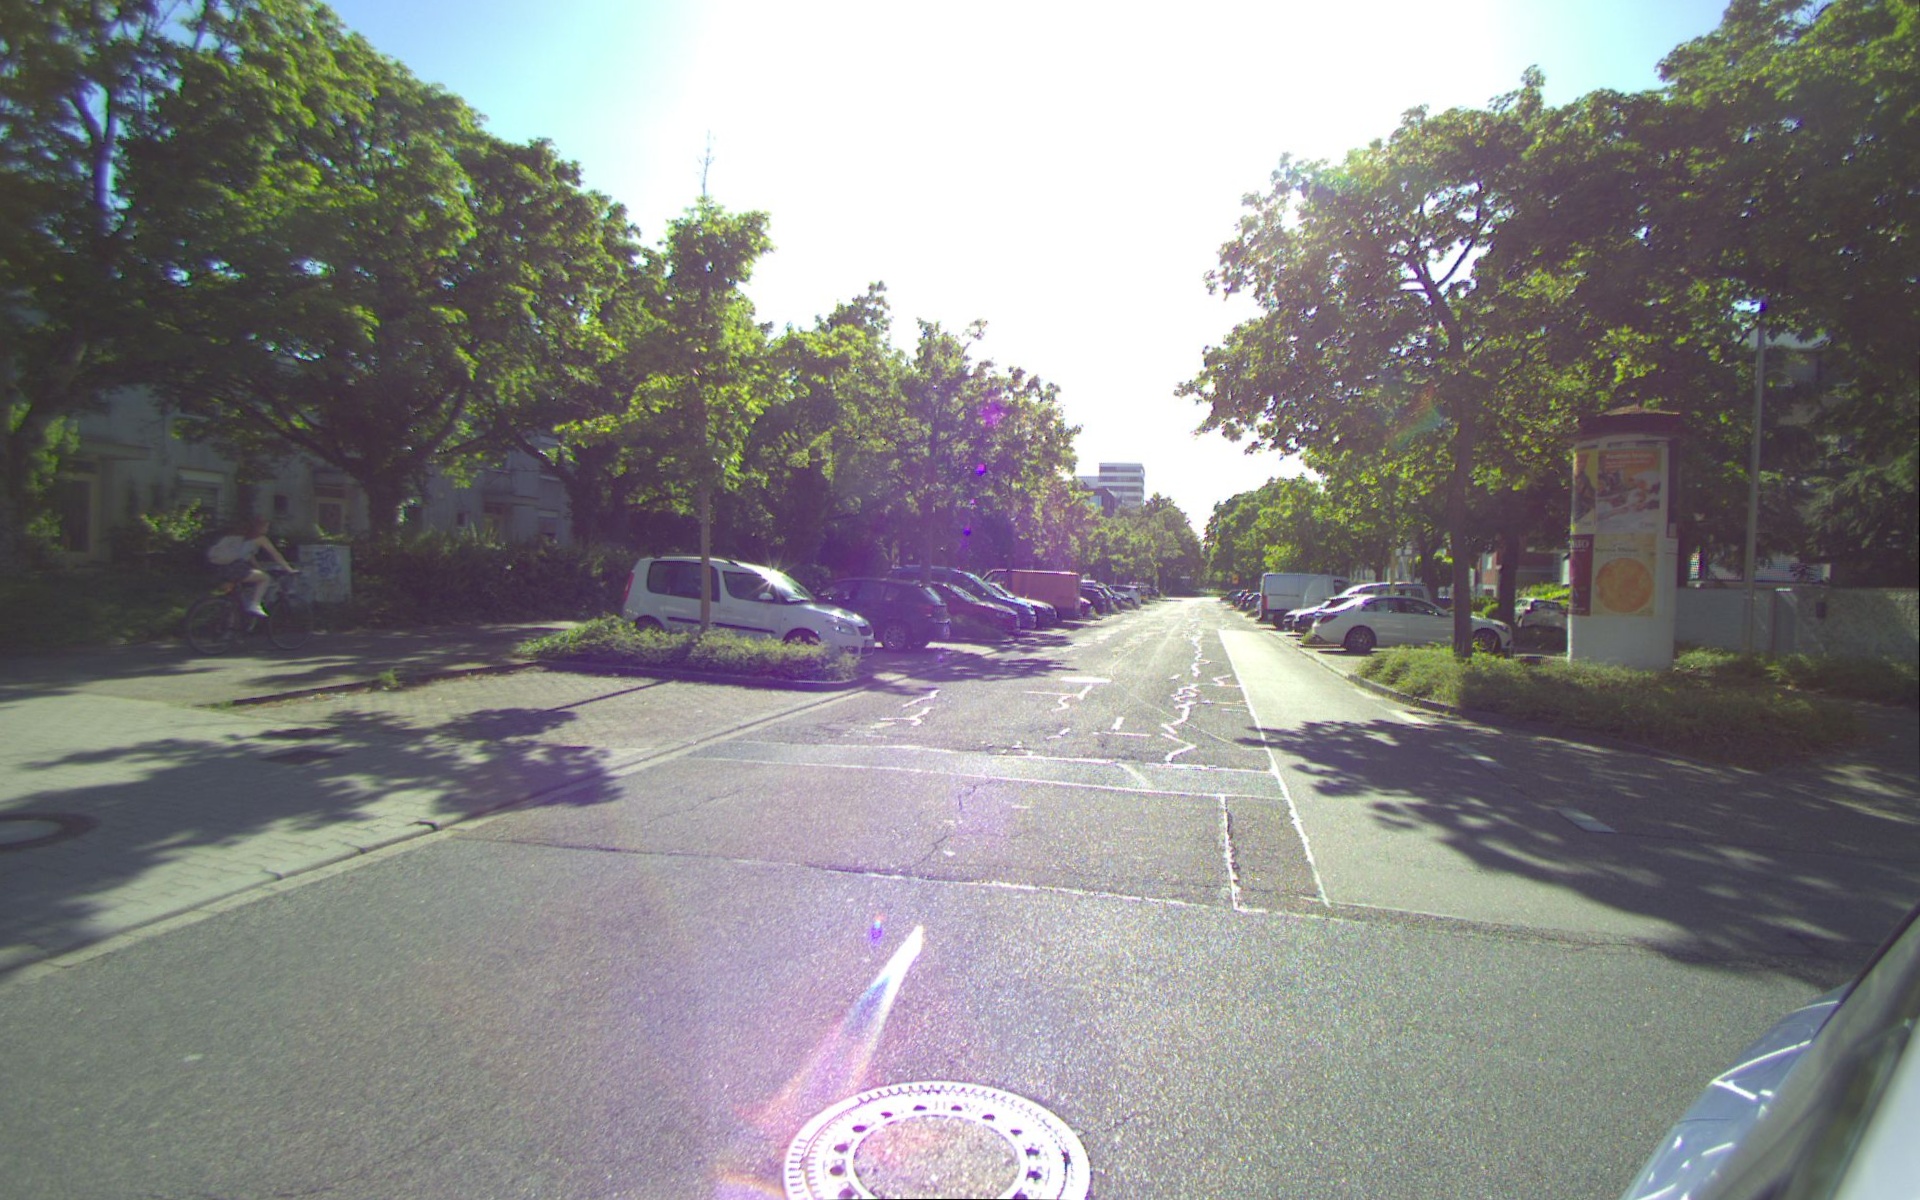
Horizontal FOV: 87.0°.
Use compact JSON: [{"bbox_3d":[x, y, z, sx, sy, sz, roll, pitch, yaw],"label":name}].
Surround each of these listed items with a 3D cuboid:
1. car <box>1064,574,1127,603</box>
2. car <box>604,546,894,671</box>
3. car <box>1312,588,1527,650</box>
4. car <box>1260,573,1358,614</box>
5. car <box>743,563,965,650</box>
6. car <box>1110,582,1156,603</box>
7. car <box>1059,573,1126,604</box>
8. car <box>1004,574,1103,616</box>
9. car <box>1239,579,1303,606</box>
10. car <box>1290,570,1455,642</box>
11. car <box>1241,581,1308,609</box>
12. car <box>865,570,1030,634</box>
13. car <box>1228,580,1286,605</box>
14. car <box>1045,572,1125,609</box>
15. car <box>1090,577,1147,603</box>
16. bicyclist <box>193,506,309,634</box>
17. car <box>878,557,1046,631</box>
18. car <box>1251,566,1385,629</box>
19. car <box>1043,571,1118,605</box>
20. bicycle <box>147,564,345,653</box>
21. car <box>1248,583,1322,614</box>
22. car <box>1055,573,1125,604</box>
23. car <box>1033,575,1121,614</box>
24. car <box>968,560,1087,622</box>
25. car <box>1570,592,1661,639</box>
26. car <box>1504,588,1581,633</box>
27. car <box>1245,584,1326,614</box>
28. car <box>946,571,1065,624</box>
[{"bbox_3d":[9.620,-0.830,71.686,4.196,1.736,1.967,4,2,13],"label":"car"},{"bbox_3d":[-3.300,0.079,16.125,4.106,1.617,1.822,4,2,13],"label":"car"},{"bbox_3d":[11.281,0.426,25.206,4.622,1.423,1.820,0,1,16],"label":"car"},{"bbox_3d":[17.900,-0.331,52.114,4.498,1.853,1.992,3,0,14],"label":"car"},{"bbox_3d":[-2.110,0.083,20.593,4.106,1.423,1.822,4,2,13],"label":"car"},{"bbox_3d":[16.724,-0.783,97.836,4.196,1.736,1.967,4,2,13],"label":"car"},{"bbox_3d":[8.812,-0.780,67.341,4.196,1.736,1.967,4,2,13],"label":"car"},{"bbox_3d":[4.236,-0.237,45.792,4.196,1.590,1.967,4,2,13],"label":"car"},{"bbox_3d":[24.020,-0.575,78.342,4.498,1.853,1.992,3,0,14],"label":"car"},{"bbox_3d":[13.173,0.169,32.594,4.567,2.016,1.992,3,0,14],"label":"car"},{"bbox_3d":[22.958,-0.389,74.080,4.498,1.853,1.992,3,0,14],"label":"car"},{"bbox_3d":[-0.304,0.010,27.325,4.106,1.423,1.822,4,2,13],"label":"car"},{"bbox_3d":[24.887,-0.619,85.025,4.498,1.853,1.992,3,0,14],"label":"car"},{"bbox_3d":[6.957,-0.547,56.170,4.196,1.774,1.967,4,2,13],"label":"car"},{"bbox_3d":[12.346,-0.798,78.727,4.196,1.736,1.967,4,2,13],"label":"car"},{"bbox_3d":[-8.935,-0.373,12.780,0.589,1.542,1.008,2,0,19],"label":"bicyclist"},{"bbox_3d":[0.095,-0.213,29.673,4.595,1.794,1.822,4,2,13],"label":"car"},{"bbox_3d":[15.101,-0.124,42.932,5.059,2.408,1.992,3,0,14],"label":"car"},{"bbox_3d":[7.265,-0.753,60.831,4.196,1.736,1.967,4,2,13],"label":"car"},{"bbox_3d":[-8.950,0.098,12.803,0.588,1.008,2.076,2,1,19],"label":"bicycle"},{"bbox_3d":[21.952,-0.092,68.488,4.498,1.853,1.992,3,0,14],"label":"car"},{"bbox_3d":[8.323,-0.762,64.656,4.196,1.736,1.967,4,2,13],"label":"car"},{"bbox_3d":[5.943,-0.303,51.160,4.196,1.633,1.967,4,2,13],"label":"car"},{"bbox_3d":[2.583,-0.384,38.582,4.196,2.057,1.967,4,2,13],"label":"car"},{"bbox_3d":[26.737,0.595,41.448,1.948,1.633,4.236,4,2,18],"label":"car"},{"bbox_3d":[24.284,0.403,42.336,1.812,1.633,4.121,4,2,18],"label":"car"},{"bbox_3d":[19.959,-0.089,62.277,4.498,1.620,1.992,3,0,14],"label":"car"},{"bbox_3d":[1.553,-0.116,34.252,3.730,1.492,1.762,4,2,13],"label":"car"}]
